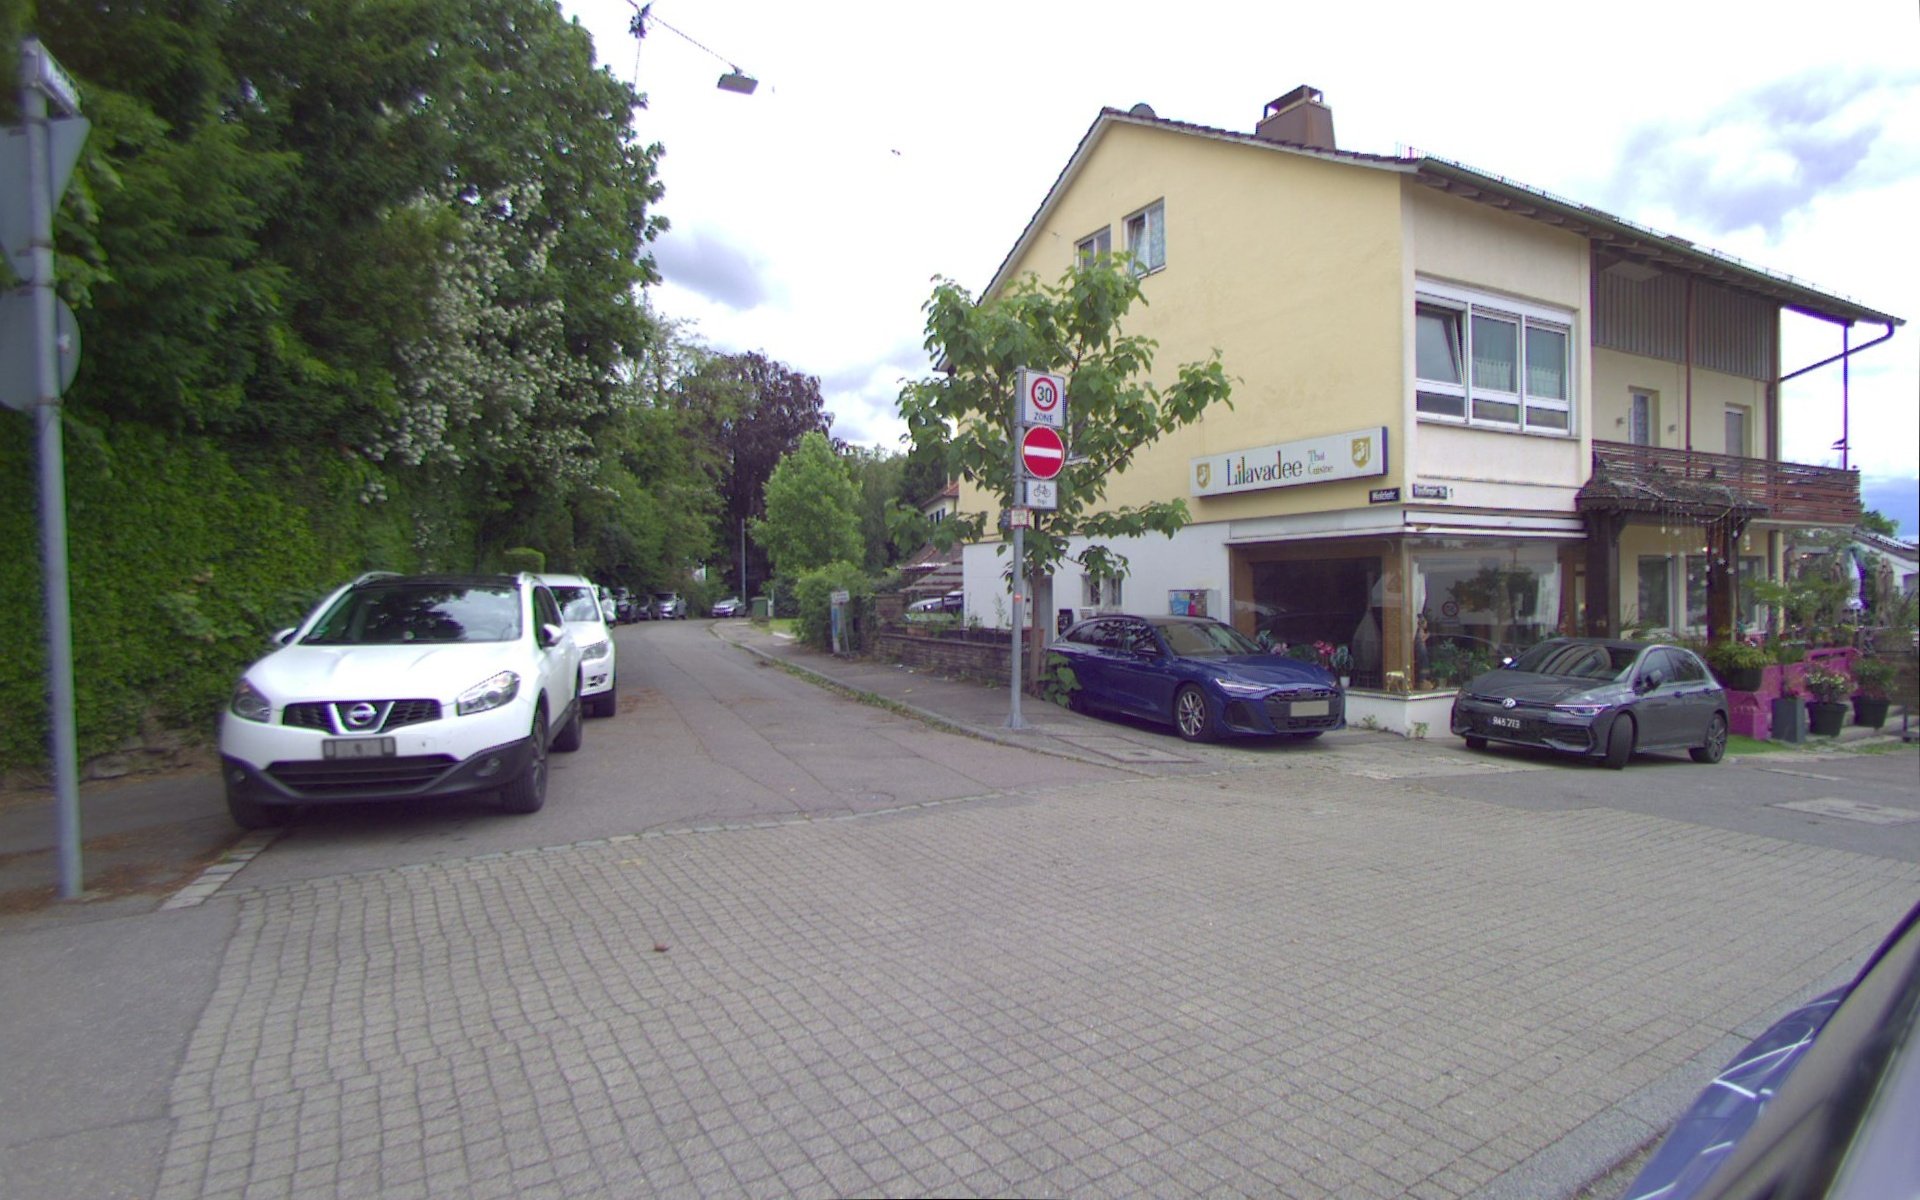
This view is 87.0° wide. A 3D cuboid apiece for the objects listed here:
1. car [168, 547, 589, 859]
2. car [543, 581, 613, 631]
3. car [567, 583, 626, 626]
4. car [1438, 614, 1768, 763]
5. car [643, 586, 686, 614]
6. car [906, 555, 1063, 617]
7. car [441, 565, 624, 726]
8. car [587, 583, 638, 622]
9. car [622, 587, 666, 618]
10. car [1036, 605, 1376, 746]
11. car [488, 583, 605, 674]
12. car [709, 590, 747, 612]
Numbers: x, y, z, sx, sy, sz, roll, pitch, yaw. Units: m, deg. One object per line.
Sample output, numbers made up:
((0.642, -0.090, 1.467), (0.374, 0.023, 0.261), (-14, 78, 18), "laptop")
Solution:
((-3.875, 0.511, 7.555), (1.761, 1.643, 4.144), (-1, 1, -16), "car")
((-12.228, 0.150, 32.592), (1.541, 1.502, 3.745), (-1, 1, -11), "car")
((-13.434, 0.116, 37.545), (1.541, 1.502, 3.481), (-1, 1, -11), "car")
((7.934, 1.078, 12.373), (4.242, 1.480, 1.800), (5, -2, -34), "car")
((-16.253, -0.021, 55.794), (1.543, 1.502, 3.476), (0, 1, -3), "car")
((0.729, -0.397, 30.285), (4.235, 1.480, 1.802), (4, -2, -19), "car")
((-5.186, 0.439, 12.610), (1.761, 1.643, 4.080), (-1, 1, -20), "car")
((-14.219, 0.059, 41.526), (1.541, 1.502, 3.481), (-1, 1, -11), "car")
((-15.929, 0.092, 51.112), (1.542, 1.502, 3.479), (-1, 1, -8), "car")
((2.905, 0.838, 13.212), (1.761, 1.405, 4.758), (2, 0, -23), "car")
((-7.459, 0.426, 18.518), (1.761, 1.441, 4.080), (-1, 1, -20), "car")
((-16.362, 0.056, 71.457), (1.547, 1.502, 3.468), (0, 1, 7), "car")
